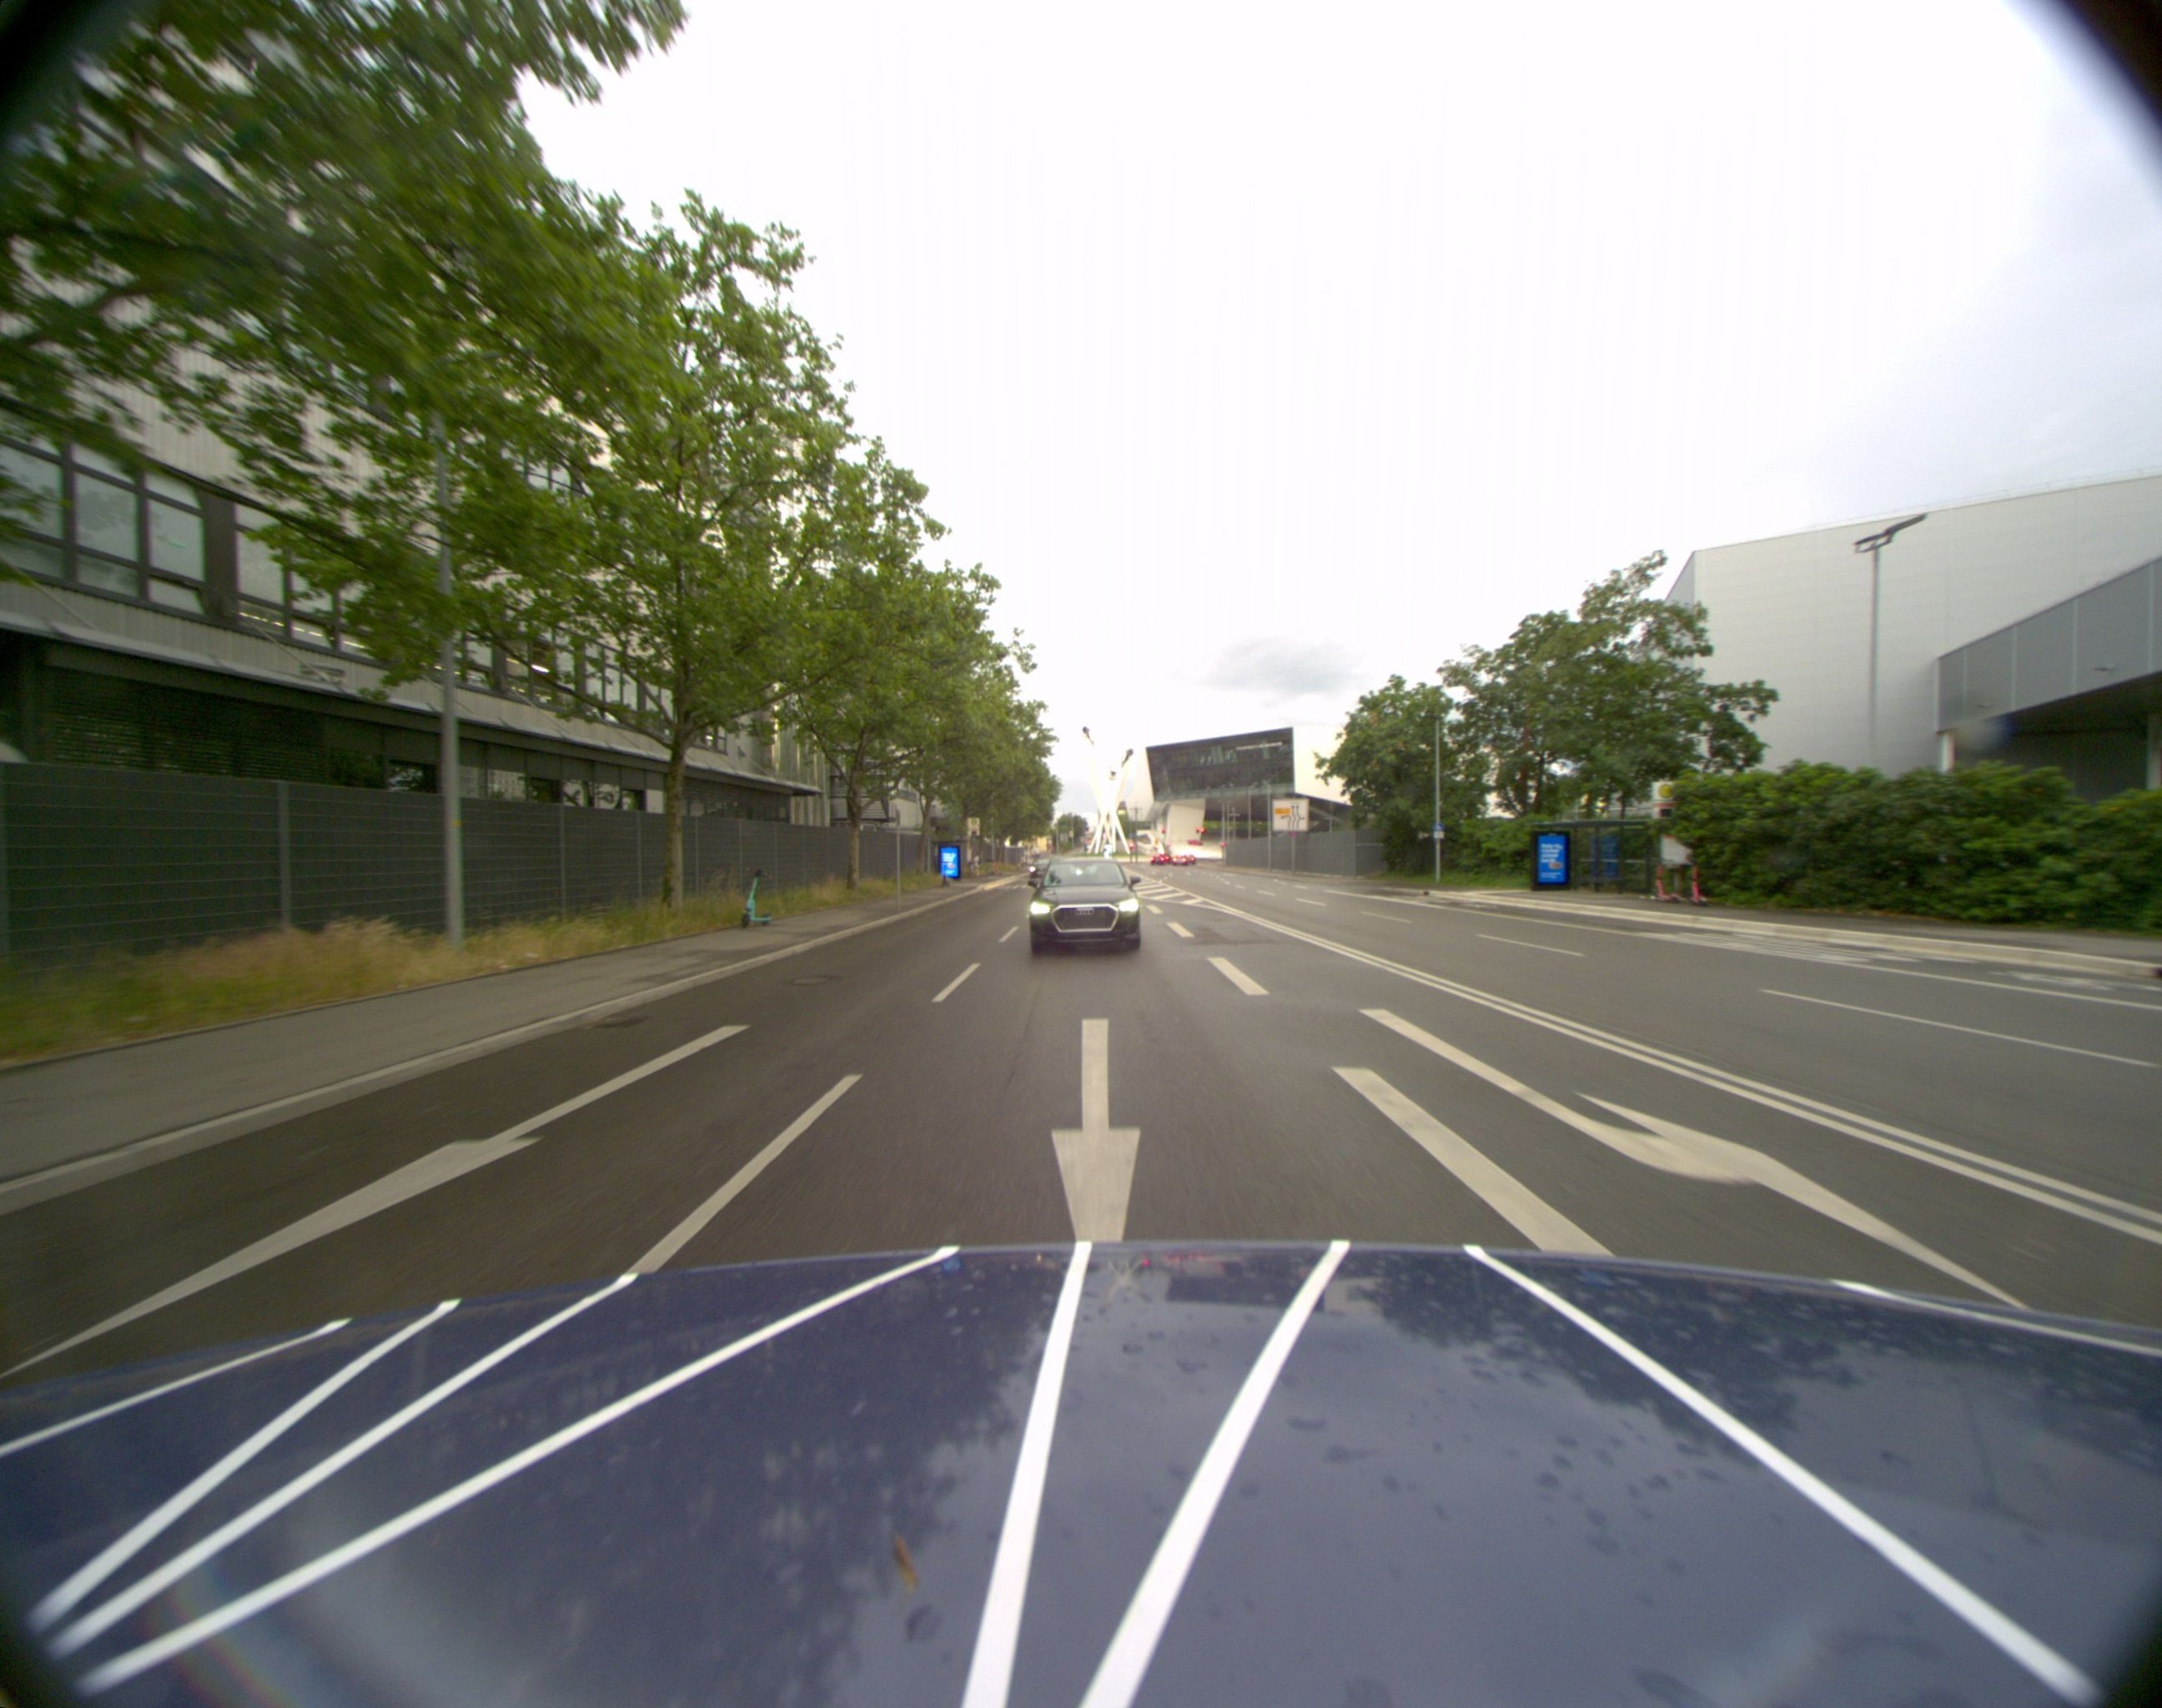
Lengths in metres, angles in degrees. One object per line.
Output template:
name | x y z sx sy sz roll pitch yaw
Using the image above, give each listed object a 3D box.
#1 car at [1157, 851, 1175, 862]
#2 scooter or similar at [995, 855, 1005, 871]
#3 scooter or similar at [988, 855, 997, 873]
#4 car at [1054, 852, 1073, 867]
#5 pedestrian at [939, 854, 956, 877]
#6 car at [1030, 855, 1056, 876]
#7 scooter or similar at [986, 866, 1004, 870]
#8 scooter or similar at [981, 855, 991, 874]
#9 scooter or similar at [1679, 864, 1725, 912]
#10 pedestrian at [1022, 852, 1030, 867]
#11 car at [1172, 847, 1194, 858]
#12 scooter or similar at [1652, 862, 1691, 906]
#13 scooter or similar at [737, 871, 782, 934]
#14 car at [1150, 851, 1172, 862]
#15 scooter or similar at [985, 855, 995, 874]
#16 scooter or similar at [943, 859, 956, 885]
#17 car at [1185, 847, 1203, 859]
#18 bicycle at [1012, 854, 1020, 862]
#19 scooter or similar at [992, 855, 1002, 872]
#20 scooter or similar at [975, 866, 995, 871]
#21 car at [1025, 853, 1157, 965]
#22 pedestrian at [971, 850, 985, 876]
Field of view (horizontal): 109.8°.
car | 12.378 0.379 110.653 1.878 1.641 3.857 0 0 17
scooter or similar | -6.604 0.690 61.927 0.437 1.278 1.301 0 1 8
scooter or similar | -6.630 0.749 56.858 0.437 1.288 1.301 0 1 4
car | -1.809 0.510 79.315 1.842 1.444 4.785 -2 0 -1
pedestrian | -8.286 0.706 47.244 0.932 1.408 0.698 -1 1 0
car | -2.819 0.856 56.798 1.881 1.485 4.075 0 0 -3
scooter or similar | -7.248 1.158 63.851 1.184 0.309 1.200 -1 1 -28
scooter or similar | -6.660 0.742 53.311 0.437 1.288 1.301 0 1 4
scooter or similar | 16.220 0.870 19.864 0.379 1.174 1.379 0 1 14
pedestrian | -6.022 0.551 83.082 0.723 1.610 0.833 2 1 -1
car | 13.975 -0.197 103.455 2.267 1.469 4.052 0 1 18
scooter or similar | 16.537 0.833 21.315 0.389 1.173 1.251 0 1 14
scooter or similar | -6.812 1.012 16.134 0.329 1.262 1.109 0 1 9
car | 11.190 0.371 105.526 2.255 1.469 3.884 0 1 18
scooter or similar | -6.549 0.761 54.683 0.437 1.288 1.301 0 1 4
scooter or similar | -6.641 0.895 38.400 0.329 1.301 1.246 0 1 5
car | 16.438 -0.172 110.593 1.861 1.641 3.793 0 0 20
bicycle | -7.809 0.480 91.224 0.727 0.870 1.904 -1 1 0
scooter or similar | -6.507 0.734 58.778 0.437 1.288 1.368 0 1 8
scooter or similar | -7.698 1.162 61.079 1.098 0.343 1.260 0 1 24
car | 0.116 0.827 14.090 1.951 1.609 5.276 -2 0 -1
pedestrian | -6.891 0.606 50.837 0.778 1.700 0.729 -1 1 0
